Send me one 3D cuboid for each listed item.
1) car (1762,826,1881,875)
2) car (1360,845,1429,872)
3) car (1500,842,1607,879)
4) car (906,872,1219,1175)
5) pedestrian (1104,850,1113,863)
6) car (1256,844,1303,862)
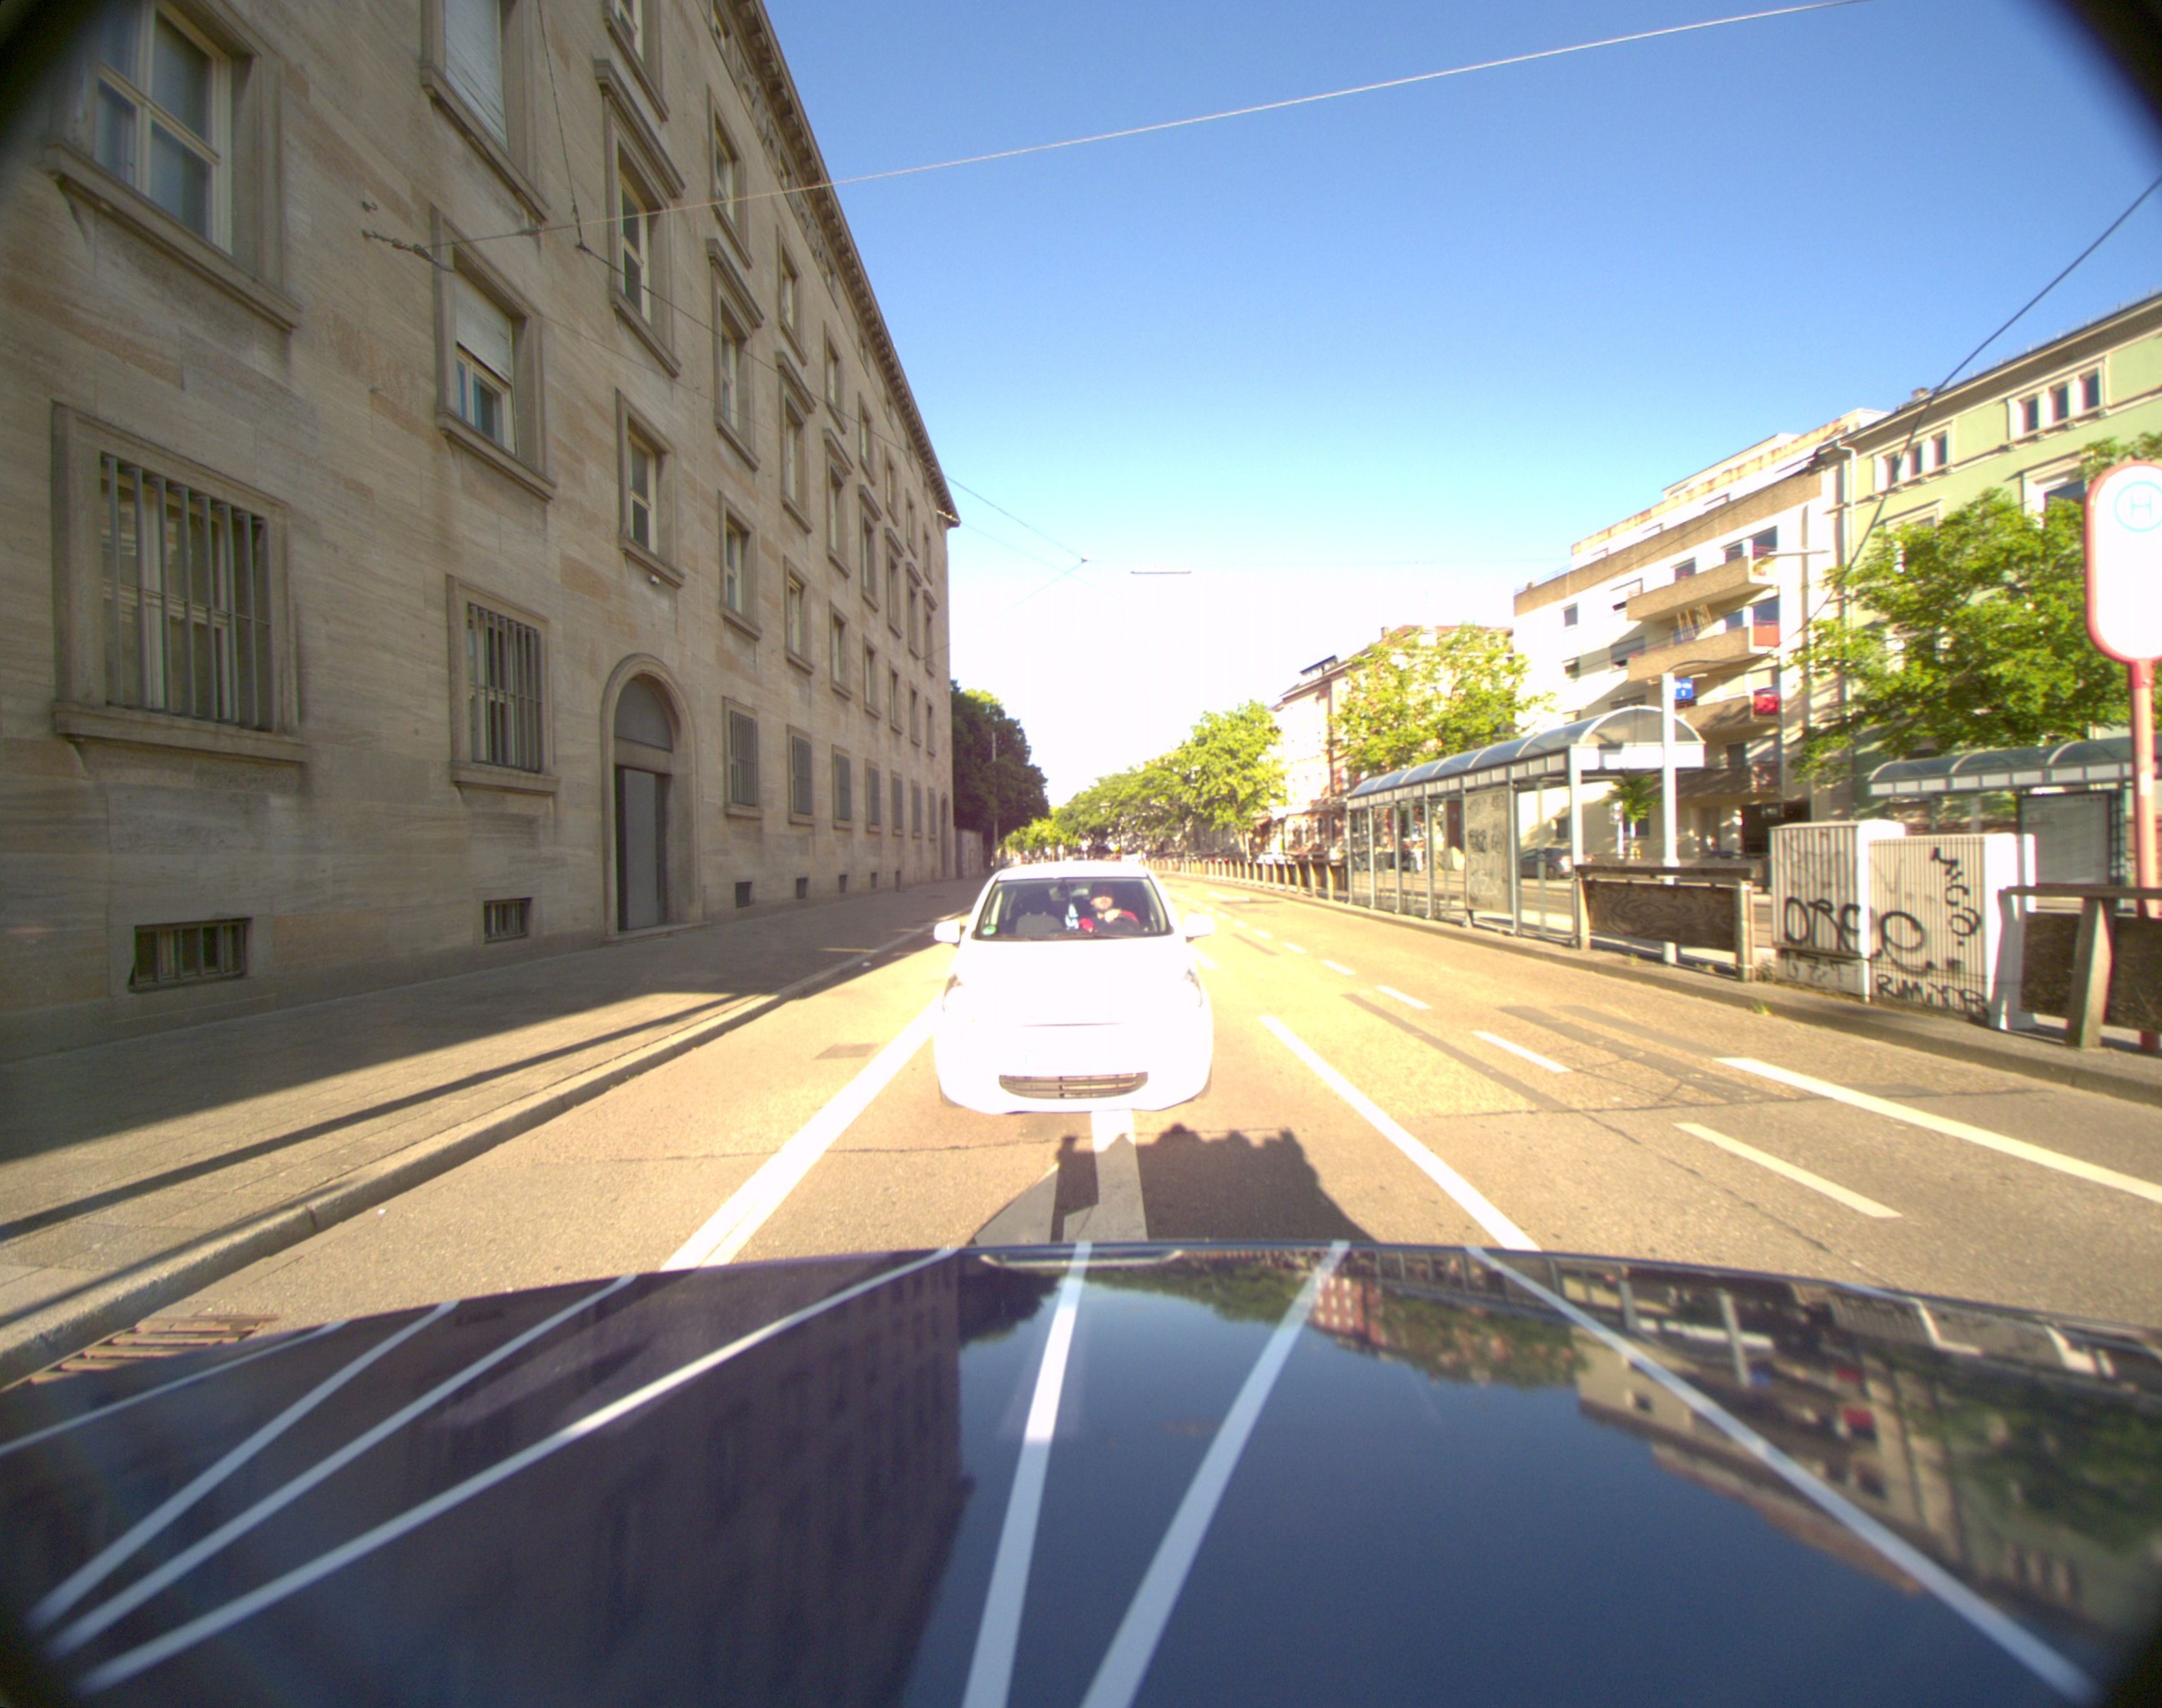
[{"bbox_3d":[31.941,-0.147,32.807,4.001,2.002,1.798,-1,1,-13],"label":"car"},{"bbox_3d":[18.393,0.240,44.765,2.000,1.521,3.997,-1,0,-8],"label":"car"},{"bbox_3d":[21.104,0.271,34.158,2.000,1.521,3.997,-1,0,-8],"label":"car"},{"bbox_3d":[-0.073,0.936,5.800,1.606,1.455,3.621,-1,0,1],"label":"car"},{"bbox_3d":[3.607,0.380,100.337,0.930,1.673,0.685,-1,1,-38],"label":"pedestrian"},{"bbox_3d":[16.511,-0.088,63.233,3.648,1.342,1.578,-2,1,-29],"label":"car"}]
